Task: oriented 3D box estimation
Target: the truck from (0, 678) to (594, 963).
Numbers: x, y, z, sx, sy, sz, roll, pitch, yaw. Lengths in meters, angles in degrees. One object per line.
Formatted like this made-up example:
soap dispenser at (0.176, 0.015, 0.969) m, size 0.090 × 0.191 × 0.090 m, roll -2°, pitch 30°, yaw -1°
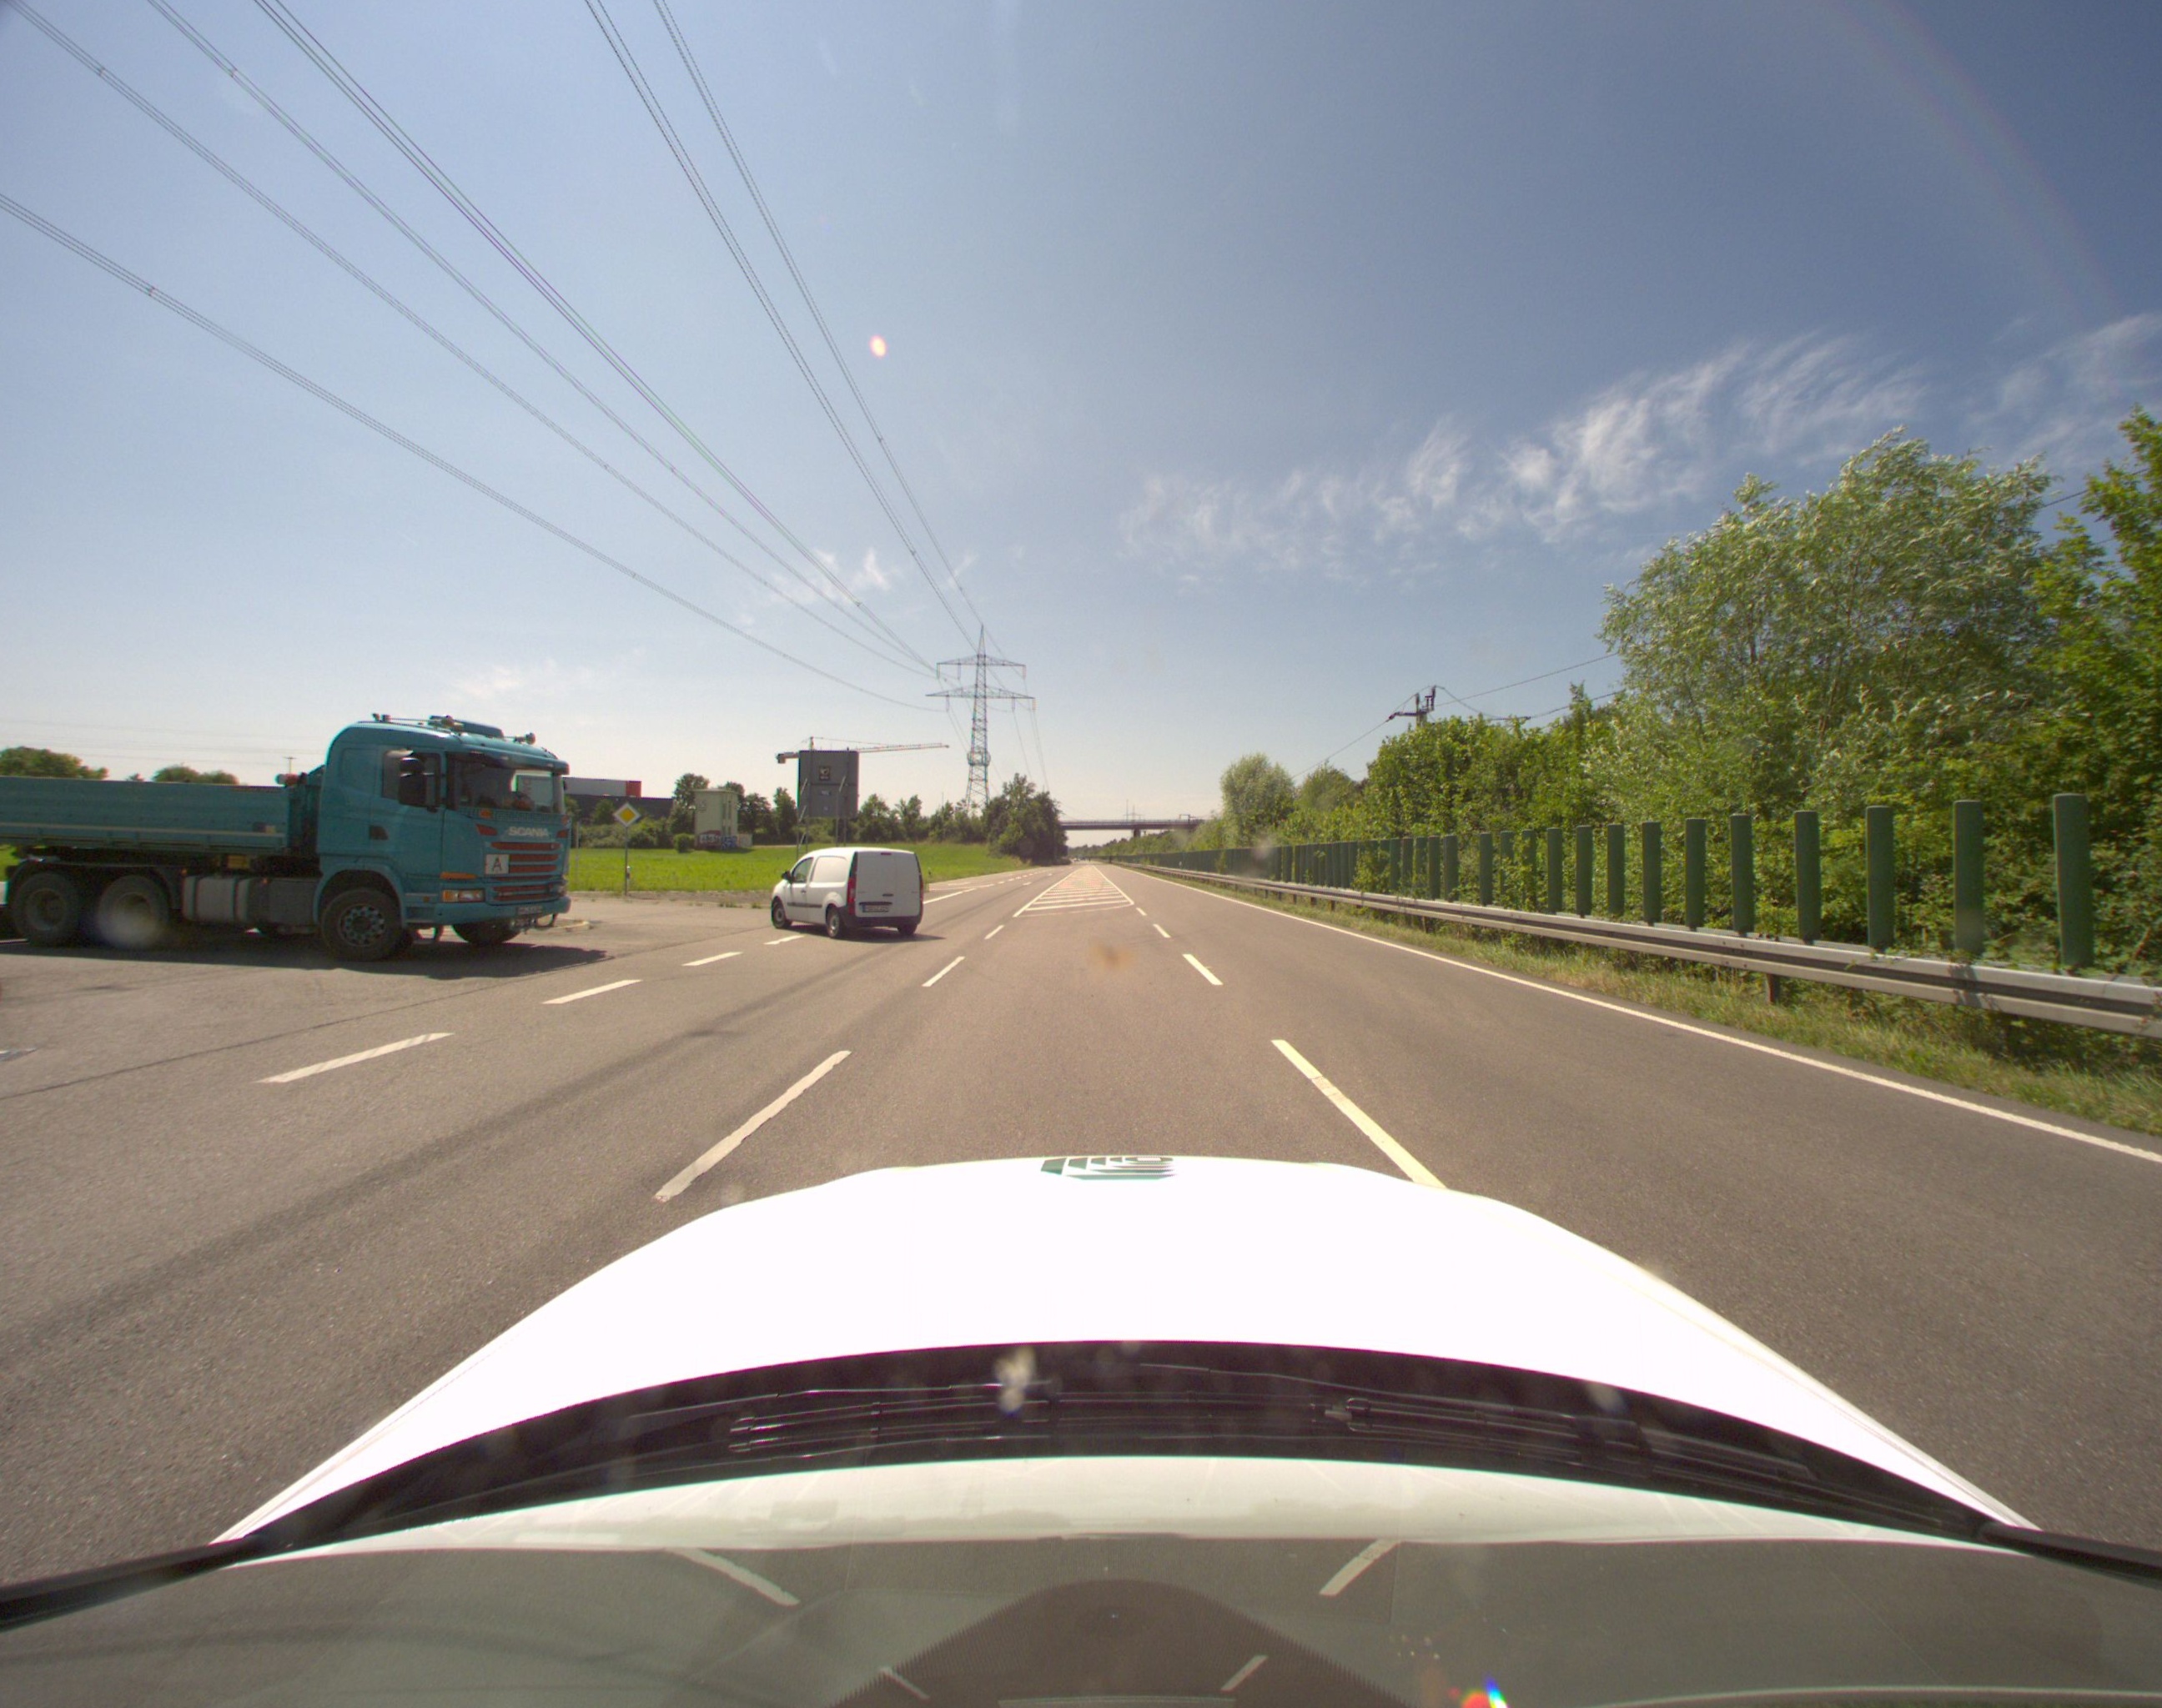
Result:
truck at (-12.271, -0.507, 12.608) m, size 7.872 × 3.734 × 2.500 m, roll 2°, pitch 0°, yaw 2°

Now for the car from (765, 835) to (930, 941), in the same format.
car at (-5.016, 0.642, 17.168) m, size 1.843 × 1.971 × 3.952 m, roll 0°, pitch 0°, yaw -41°

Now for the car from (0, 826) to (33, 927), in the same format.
car at (-19.606, 0.312, 12.925) m, size 4.508 × 1.612 × 1.976 m, roll 1°, pitch 0°, yaw 15°
